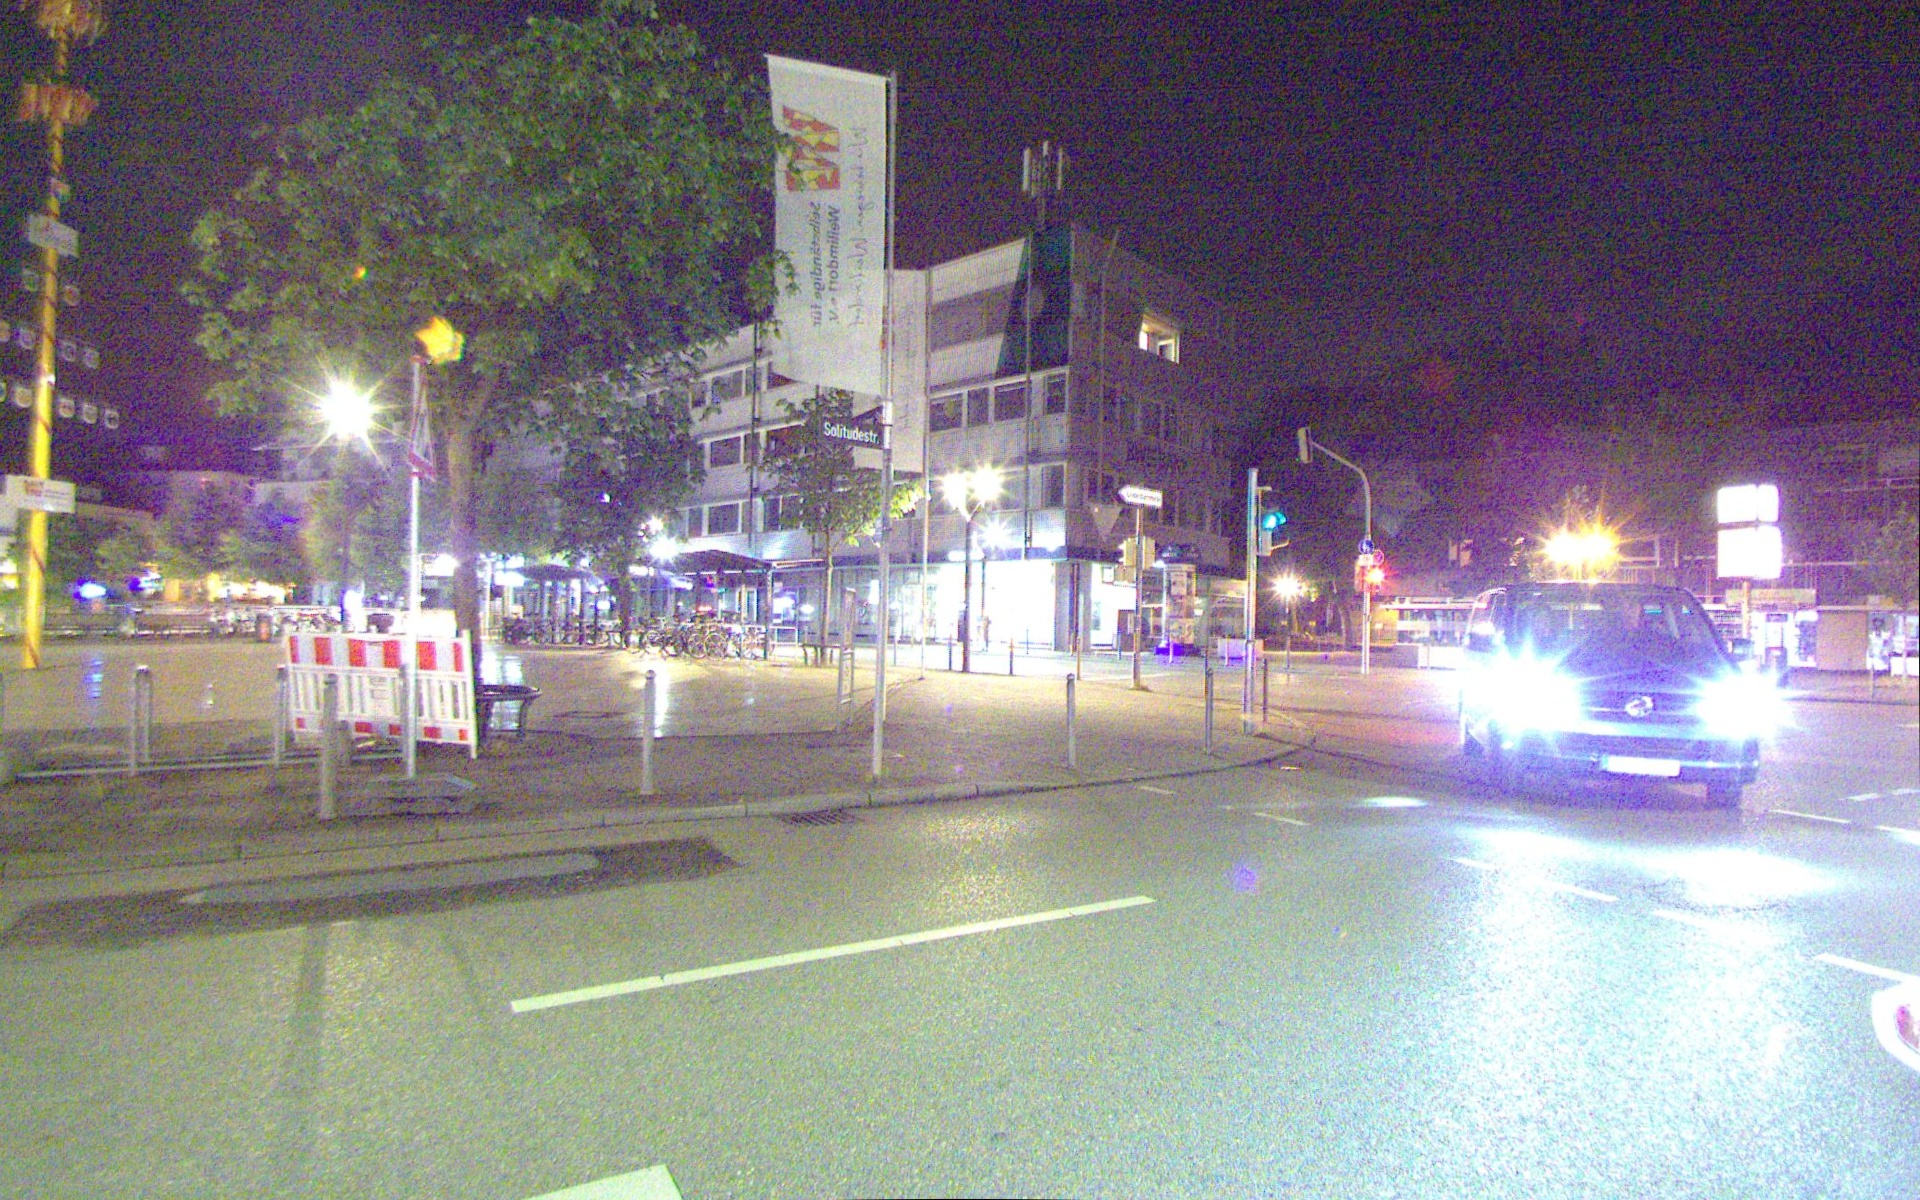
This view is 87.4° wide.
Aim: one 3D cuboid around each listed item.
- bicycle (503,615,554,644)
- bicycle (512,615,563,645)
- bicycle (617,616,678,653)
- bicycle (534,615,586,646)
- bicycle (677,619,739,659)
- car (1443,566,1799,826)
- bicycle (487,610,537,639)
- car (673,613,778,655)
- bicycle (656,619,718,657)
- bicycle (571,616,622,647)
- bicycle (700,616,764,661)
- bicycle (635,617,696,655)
[{"bbox_3d":[-14.728,1.004,34.325,0.473,0.970,1.525,2,0,44],"label":"bicycle"},{"bbox_3d":[-14.179,0.993,33.741,0.473,0.970,1.525,2,0,44],"label":"bicycle"},{"bbox_3d":[-8.525,0.946,27.426,0.473,0.970,1.525,2,0,44],"label":"bicycle"},{"bbox_3d":[-13.157,1.006,33.062,0.473,0.970,1.525,2,0,44],"label":"bicycle"},{"bbox_3d":[-6.388,0.985,25.513,0.440,0.970,1.525,2,0,43],"label":"bicycle"},{"bbox_3d":[6.101,0.759,9.973,1.934,1.896,4.911,1,-1,21],"label":"car"},{"bbox_3d":[-15.550,0.849,34.894,0.473,0.970,1.525,2,0,44],"label":"bicycle"},{"bbox_3d":[-9.449,1.322,40.349,4.250,1.473,1.871,2,0,39],"label":"car"},{"bbox_3d":[-7.093,0.982,26.136,0.473,0.970,1.525,2,0,44],"label":"bicycle"},{"bbox_3d":[-11.987,1.032,33.140,0.473,0.970,1.525,2,0,44],"label":"bicycle"},{"bbox_3d":[-5.645,0.952,24.928,0.440,1.068,1.525,2,0,43],"label":"bicycle"},{"bbox_3d":[-7.845,0.964,26.825,0.473,0.970,1.525,2,0,44],"label":"bicycle"}]
